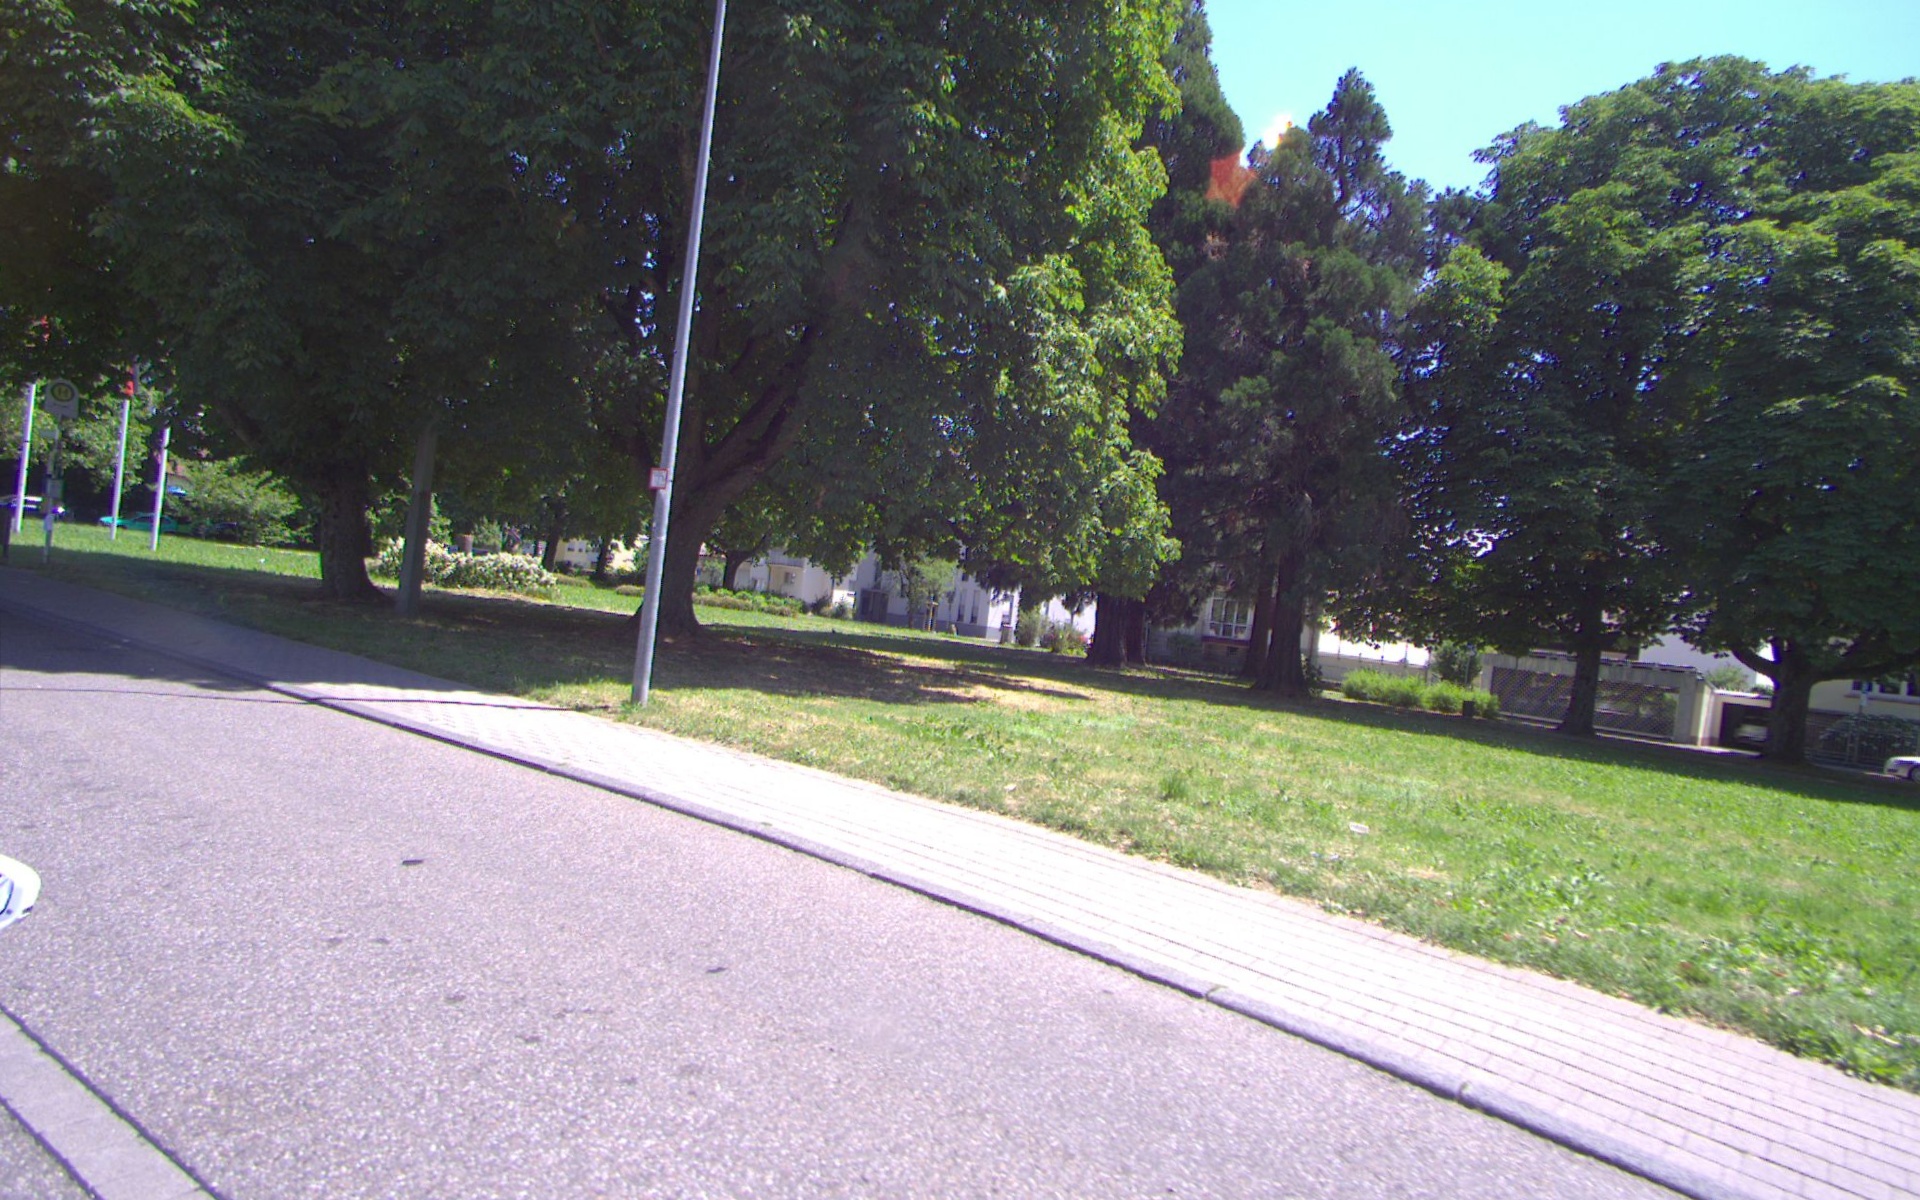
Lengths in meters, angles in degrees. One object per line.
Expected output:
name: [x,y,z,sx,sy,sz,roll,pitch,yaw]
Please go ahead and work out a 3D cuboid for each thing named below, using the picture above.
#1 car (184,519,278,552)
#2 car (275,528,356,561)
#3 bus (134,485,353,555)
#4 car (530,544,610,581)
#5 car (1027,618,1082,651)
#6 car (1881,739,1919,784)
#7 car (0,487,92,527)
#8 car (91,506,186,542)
car: [-46.366,-4.092,64.059,1.967,1.433,4.344,5,-2,32]
car: [-43.687,-3.741,68.303,1.968,1.627,4.103,5,-2,33]
bus: [-49.284,-5.392,69.917,2.231,3.013,12.397,6,-1,31]
car: [-29.539,-2.808,76.205,5.222,2.113,1.984,7,-2,-33]
car: [6.753,2.467,71.521,1.808,1.981,3.738,5,-2,44]
car: [33.457,5.600,32.985,1.660,1.303,4.656,6,-1,-45]
car: [-51.513,-5.228,55.666,1.968,1.627,4.826,7,0,35]
car: [-48.959,-4.520,60.029,1.968,1.471,3.886,5,-2,33]
